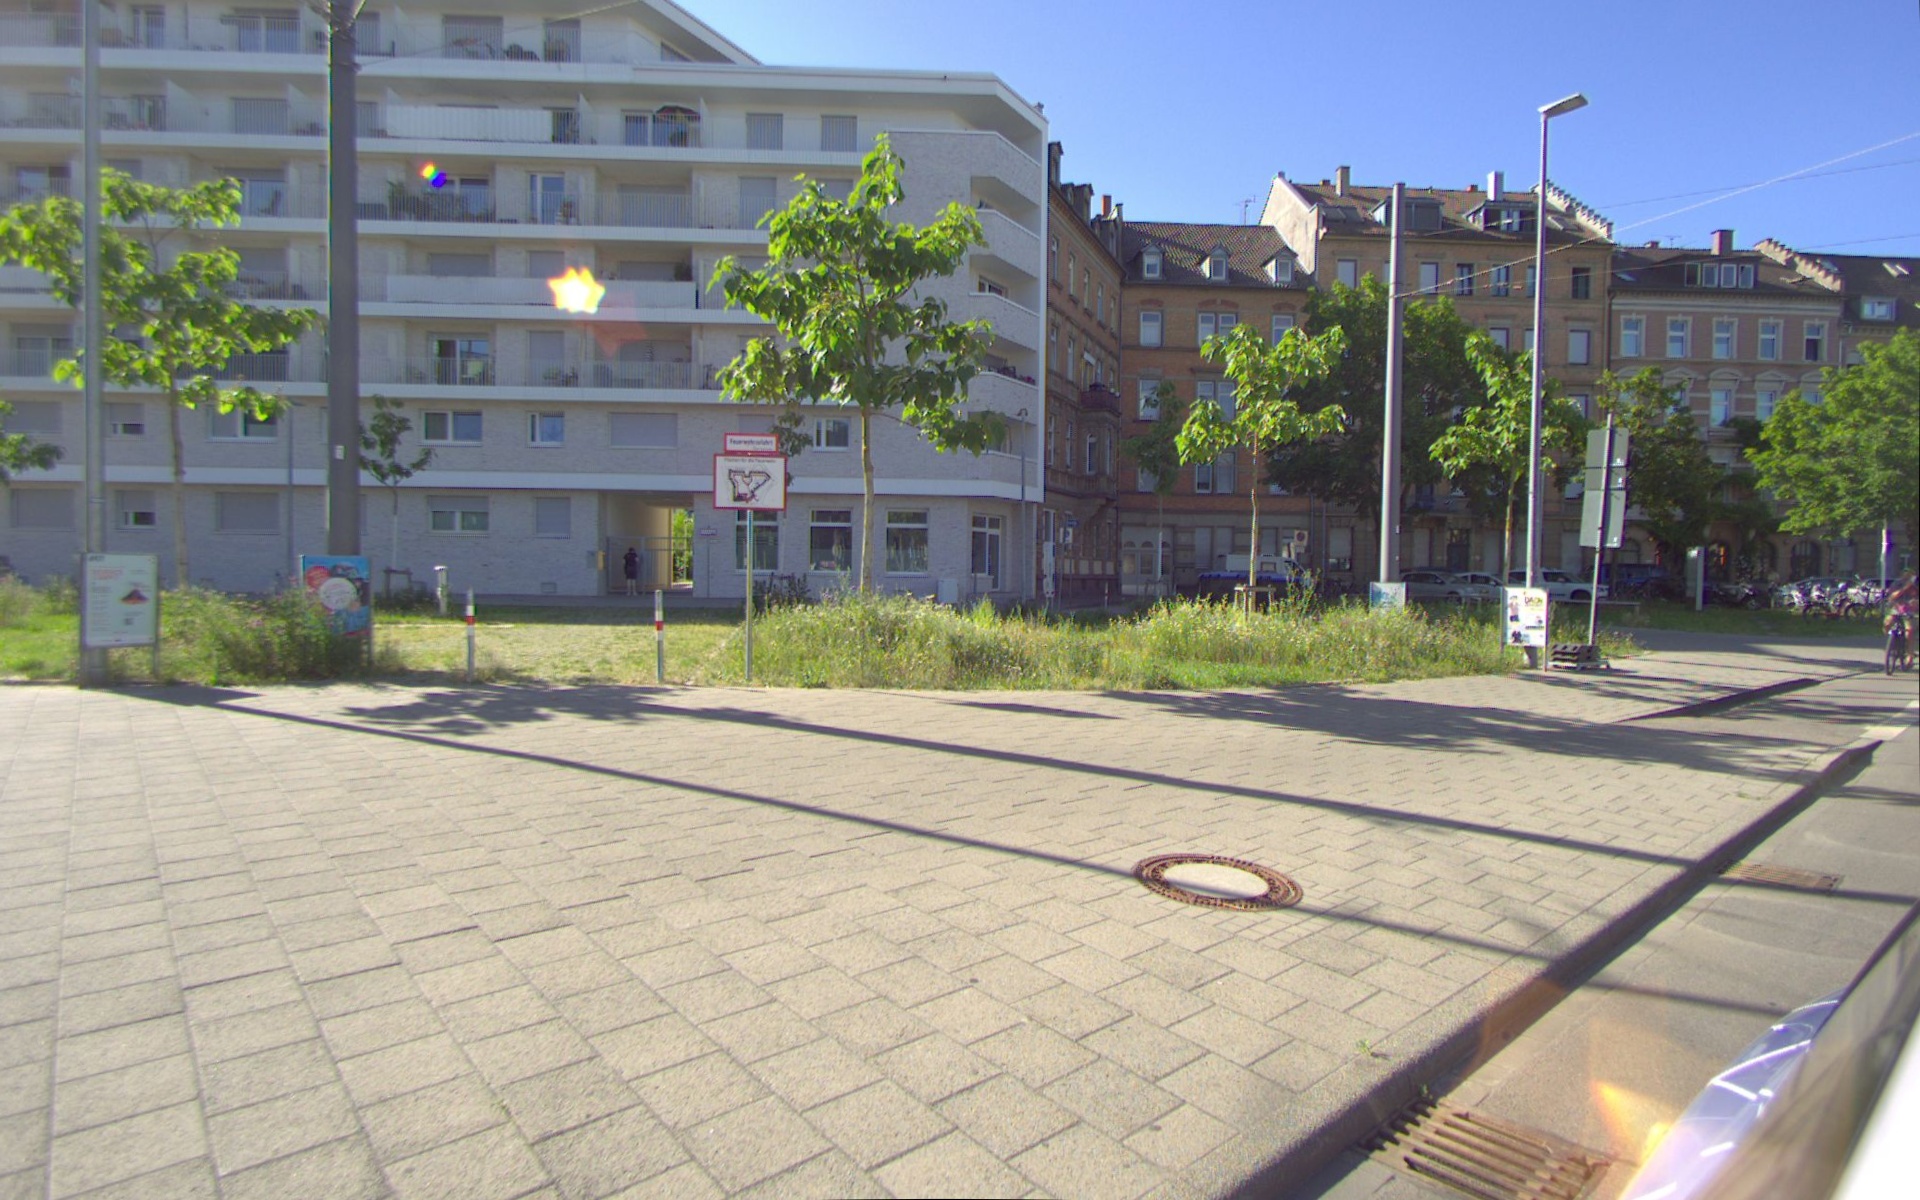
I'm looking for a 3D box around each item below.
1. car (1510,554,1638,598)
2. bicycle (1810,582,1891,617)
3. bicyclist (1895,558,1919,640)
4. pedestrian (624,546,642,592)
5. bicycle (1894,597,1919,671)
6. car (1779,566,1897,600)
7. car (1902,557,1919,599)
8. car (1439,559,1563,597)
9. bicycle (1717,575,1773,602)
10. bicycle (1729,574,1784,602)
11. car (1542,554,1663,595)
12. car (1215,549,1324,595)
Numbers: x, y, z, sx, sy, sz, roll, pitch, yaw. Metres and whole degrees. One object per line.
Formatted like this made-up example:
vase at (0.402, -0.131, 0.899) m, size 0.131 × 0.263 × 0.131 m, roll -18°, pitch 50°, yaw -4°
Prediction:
car at (24.727, -0.984, 40.880) m, size 1.964 × 1.682 × 3.997 m, roll -1°, pitch 2°, yaw -38°
bicycle at (27.246, -0.029, 30.994) m, size 1.742 × 1.037 × 0.564 m, roll 1°, pitch 1°, yaw 23°
bicyclist at (16.768, -0.021, 17.583) m, size 0.695 × 1.393 × 0.727 m, roll 4°, pitch 5°, yaw 44°
pedestrian at (-11.854, -1.129, 36.673) m, size 0.513 × 1.668 × 0.471 m, roll 1°, pitch 1°, yaw 2°
bicycle at (16.671, 0.570, 17.522) m, size 0.694 × 1.118 × 1.981 m, roll 4°, pitch 5°, yaw 43°
car at (36.453, -0.734, 42.077) m, size 1.701 × 1.348 × 3.463 m, roll -1°, pitch 2°, yaw -38°
car at (42.681, -0.887, 42.190) m, size 1.701 × 1.793 × 4.791 m, roll -1°, pitch 2°, yaw -38°
car at (21.788, -0.909, 40.862) m, size 1.964 × 1.482 × 3.997 m, roll -1°, pitch 2°, yaw -38°
bicycle at (30.567, -0.465, 39.438) m, size 0.442 × 1.037 × 1.766 m, roll 0°, pitch 2°, yaw -15°
bicycle at (31.466, -0.486, 39.988) m, size 0.442 × 1.037 × 1.766 m, roll 0°, pitch 2°, yaw -15°
car at (27.665, -1.120, 43.687) m, size 1.964 × 1.682 × 3.997 m, roll -1°, pitch 2°, yaw -38°
car at (14.864, -1.340, 48.780) m, size 4.553 × 2.139 × 2.001 m, roll 0°, pitch 1°, yaw -1°
